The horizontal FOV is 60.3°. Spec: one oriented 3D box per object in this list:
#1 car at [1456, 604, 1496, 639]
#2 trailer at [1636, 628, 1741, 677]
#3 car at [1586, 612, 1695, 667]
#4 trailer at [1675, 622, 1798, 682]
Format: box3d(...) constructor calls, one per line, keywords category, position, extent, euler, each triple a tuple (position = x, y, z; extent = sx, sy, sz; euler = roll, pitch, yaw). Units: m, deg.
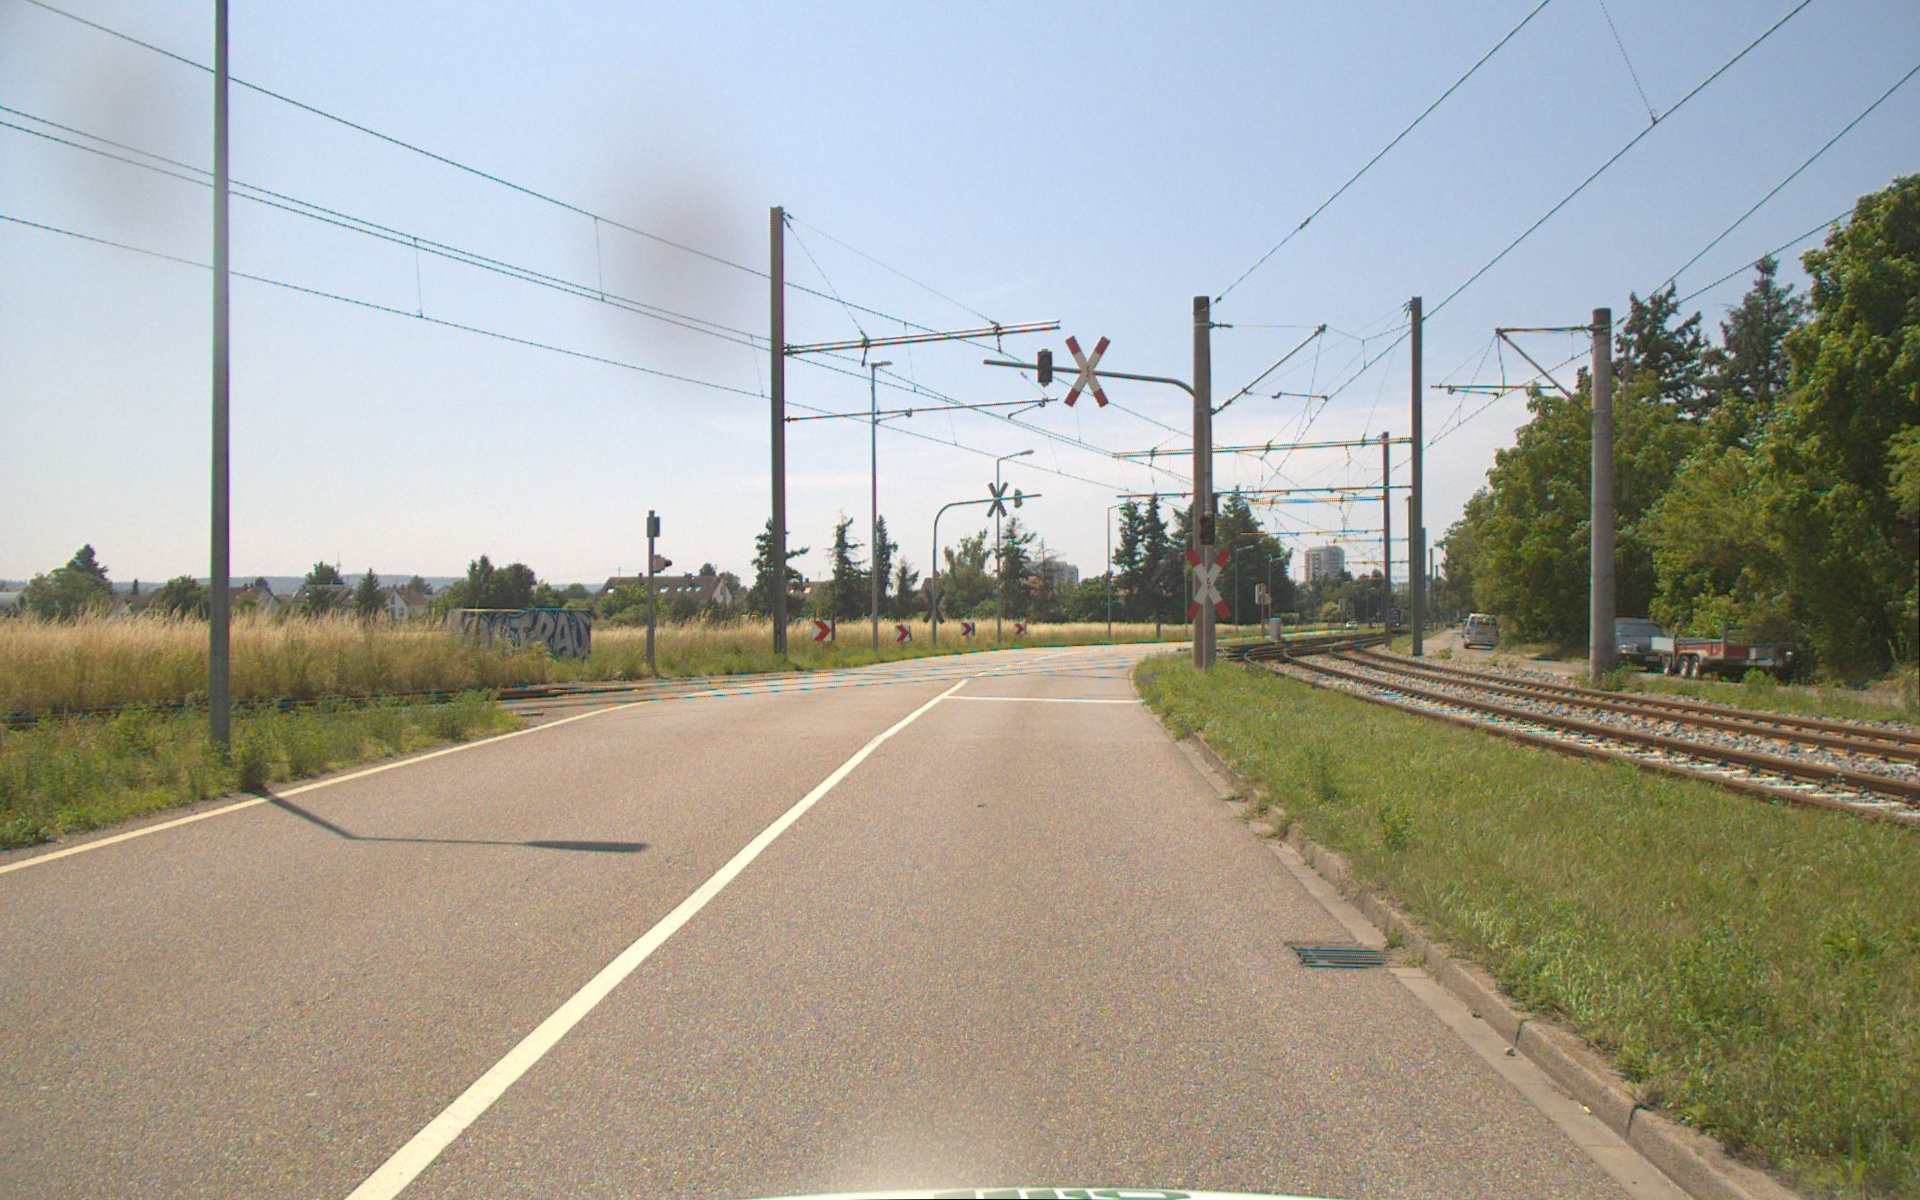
box3d(category="car", position=(29.502, 1.268, 94.529), extent=(1.994, 1.915, 5.070), euler=(-1, -2, 19))
box3d(category="trailer", position=(17.958, 1.265, 40.922), extent=(1.389, 1.012, 4.003), euler=(2, 0, 9))
box3d(category="car", position=(19.065, 1.117, 46.535), extent=(1.758, 1.451, 4.743), euler=(-1, -2, 9))
box3d(category="trailer", position=(17.267, 1.154, 36.958), extent=(1.430, 1.244, 4.003), euler=(-1, -2, 9))
